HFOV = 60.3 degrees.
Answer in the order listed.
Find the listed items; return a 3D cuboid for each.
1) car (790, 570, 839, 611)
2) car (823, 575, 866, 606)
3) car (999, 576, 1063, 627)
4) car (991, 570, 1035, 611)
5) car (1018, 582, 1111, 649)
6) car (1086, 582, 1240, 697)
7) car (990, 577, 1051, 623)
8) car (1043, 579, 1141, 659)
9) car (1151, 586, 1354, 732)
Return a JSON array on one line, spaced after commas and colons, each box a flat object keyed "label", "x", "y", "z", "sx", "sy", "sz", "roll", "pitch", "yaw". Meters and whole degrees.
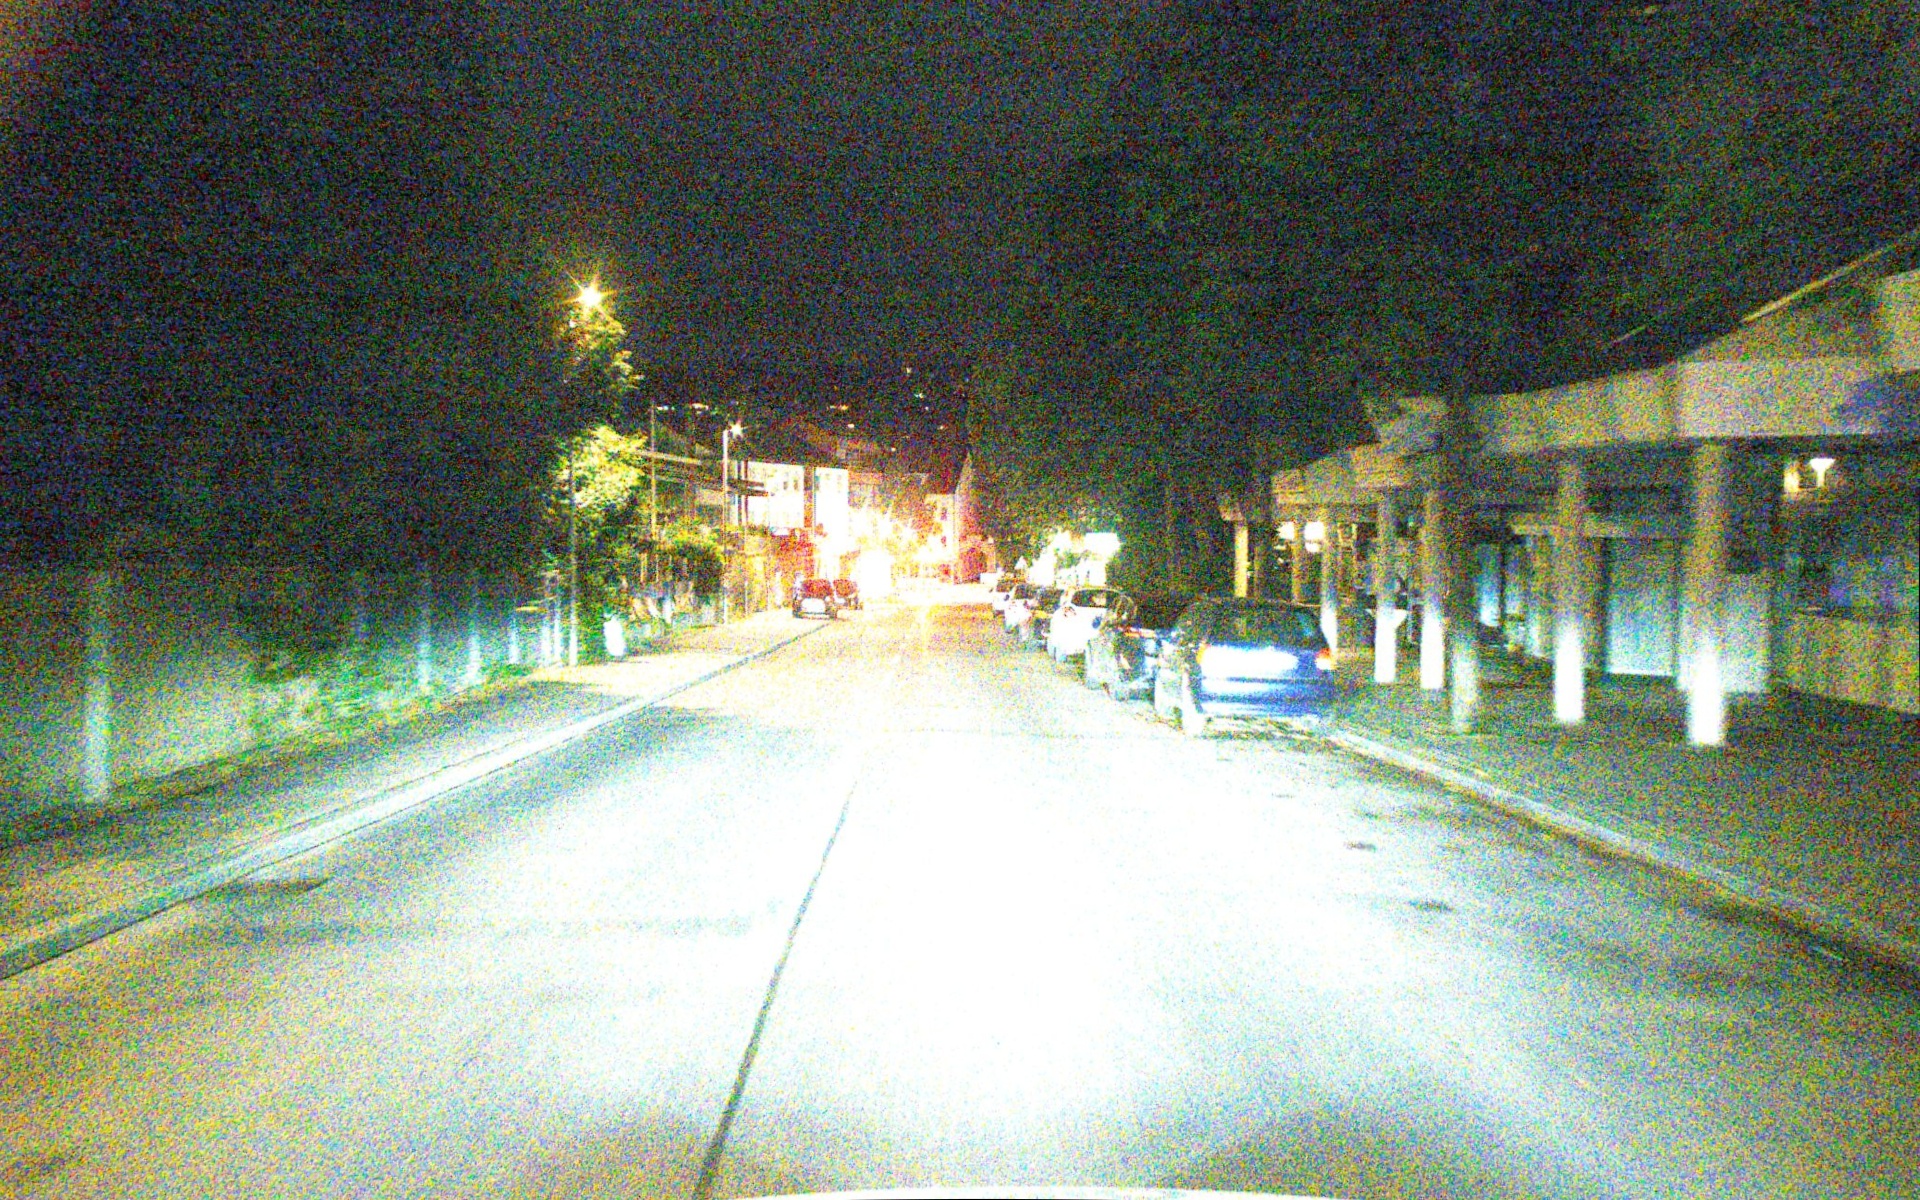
[{"label": "car", "x": -5.714, "y": -0.366, "z": 65.380, "sx": 1.657, "sy": 1.550, "sz": 3.690, "roll": 1, "pitch": 0, "yaw": -1}, {"label": "car", "x": -5.745, "y": -0.490, "z": 82.604, "sx": 1.656, "sy": 1.461, "sz": 4.130, "roll": 2, "pitch": 1, "yaw": 2}, {"label": "car", "x": 2.106, "y": 0.013, "z": 50.060, "sx": 1.642, "sy": 1.472, "sz": 4.611, "roll": 0, "pitch": 1, "yaw": -1}, {"label": "car", "x": 2.220, "y": -0.428, "z": 70.523, "sx": 1.750, "sy": 1.670, "sz": 4.380, "roll": -2, "pitch": 1, "yaw": 1}, {"label": "car", "x": 2.379, "y": 0.312, "z": 38.649, "sx": 1.726, "sy": 1.440, "sz": 4.438, "roll": 1, "pitch": 1, "yaw": -2}, {"label": "car", "x": 2.799, "y": 0.496, "z": 23.510, "sx": 1.642, "sy": 1.472, "sz": 4.000, "roll": 0, "pitch": 1, "yaw": -1}, {"label": "car", "x": 2.002, "y": -0.029, "z": 56.064, "sx": 1.744, "sy": 1.462, "sz": 4.288, "roll": 2, "pitch": 1, "yaw": -2}, {"label": "car", "x": 2.653, "y": 0.338, "z": 33.916, "sx": 1.605, "sy": 1.492, "sz": 3.776, "roll": 2, "pitch": 1, "yaw": -1}, {"label": "car", "x": 3.151, "y": 0.583, "z": 18.418, "sx": 1.567, "sy": 1.423, "sz": 3.517, "roll": 1, "pitch": 1, "yaw": -1}]
